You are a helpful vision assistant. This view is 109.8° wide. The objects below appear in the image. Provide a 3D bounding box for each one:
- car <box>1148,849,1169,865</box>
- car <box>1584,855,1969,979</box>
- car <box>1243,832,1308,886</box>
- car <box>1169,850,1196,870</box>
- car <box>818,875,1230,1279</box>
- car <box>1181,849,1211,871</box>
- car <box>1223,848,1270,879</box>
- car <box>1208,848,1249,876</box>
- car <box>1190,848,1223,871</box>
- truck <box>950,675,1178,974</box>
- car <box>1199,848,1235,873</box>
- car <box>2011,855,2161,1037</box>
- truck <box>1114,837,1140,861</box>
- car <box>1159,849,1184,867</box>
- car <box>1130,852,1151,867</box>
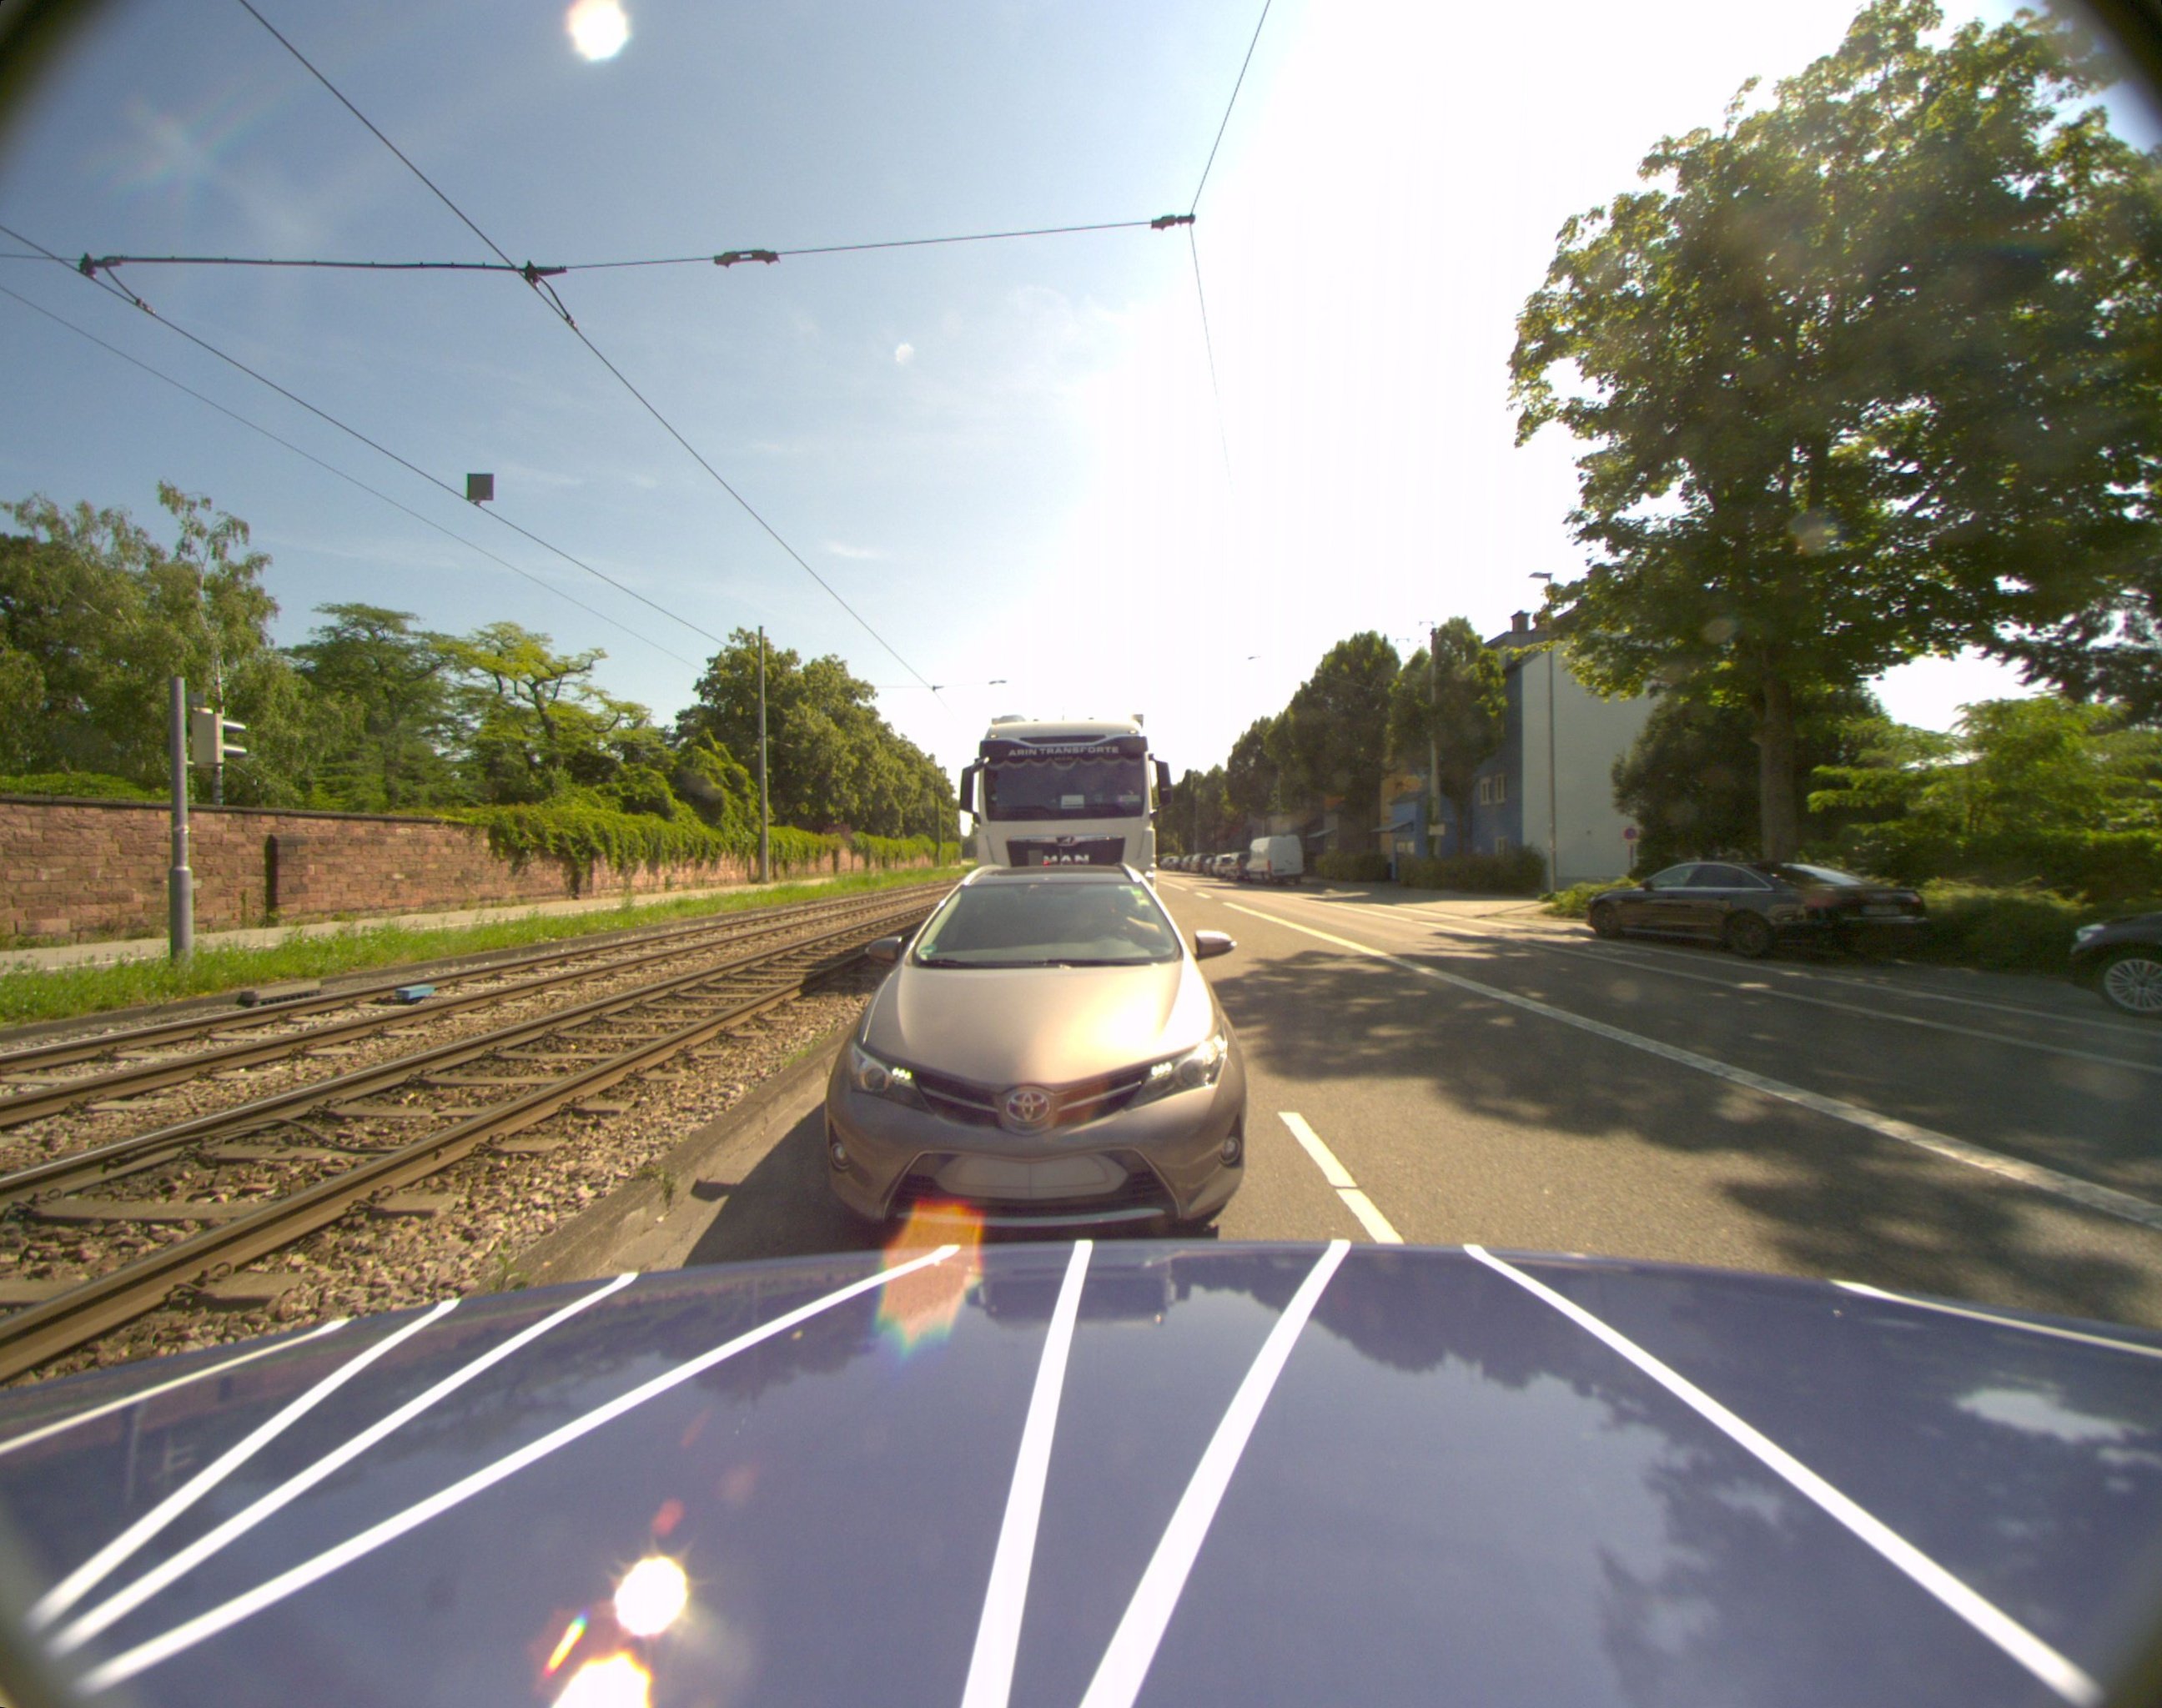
[{"bbox_3d":[9.867,0.406,96.864,1.998,1.795,4.769,-6,0,0],"label":"car"},{"bbox_3d":[10.562,0.825,12.165,1.868,1.562,4.621,-1,0,-2],"label":"car"},{"bbox_3d":[10.911,0.250,43.156,1.998,2.678,6.214,-6,0,2],"label":"car"},{"bbox_3d":[10.571,0.631,79.172,1.998,1.795,4.769,-6,0,0],"label":"car"},{"bbox_3d":[-0.193,0.912,4.913,1.573,1.422,4.000,0,0,1],"label":"car"},{"bbox_3d":[11.022,0.556,73.383,1.998,1.795,4.769,-6,0,0],"label":"car"},{"bbox_3d":[11.139,0.634,51.452,1.998,1.795,4.769,-6,0,0],"label":"car"},{"bbox_3d":[11.081,0.576,57.385,1.998,1.795,4.769,-6,0,0],"label":"car"},{"bbox_3d":[11.103,0.503,67.679,1.998,1.795,4.769,-6,0,0],"label":"car"},{"bbox_3d":[-0.127,-0.397,17.256,2.935,3.856,14.912,0,0,1],"label":"truck"},{"bbox_3d":[11.223,0.539,62.868,1.998,1.795,4.256,-6,0,0],"label":"car"},{"bbox_3d":[10.587,0.826,5.575,1.868,1.562,4.621,-2,0,0],"label":"car"},{"bbox_3d":[6.984,-0.679,116.112,2.704,3.263,6.724,-6,0,-5],"label":"truck"},{"bbox_3d":[10.194,0.479,85.916,1.998,1.795,4.769,-6,0,0],"label":"car"},{"bbox_3d":[8.277,0.793,105.575,1.999,1.795,5.111,-6,0,-4],"label":"car"}]
